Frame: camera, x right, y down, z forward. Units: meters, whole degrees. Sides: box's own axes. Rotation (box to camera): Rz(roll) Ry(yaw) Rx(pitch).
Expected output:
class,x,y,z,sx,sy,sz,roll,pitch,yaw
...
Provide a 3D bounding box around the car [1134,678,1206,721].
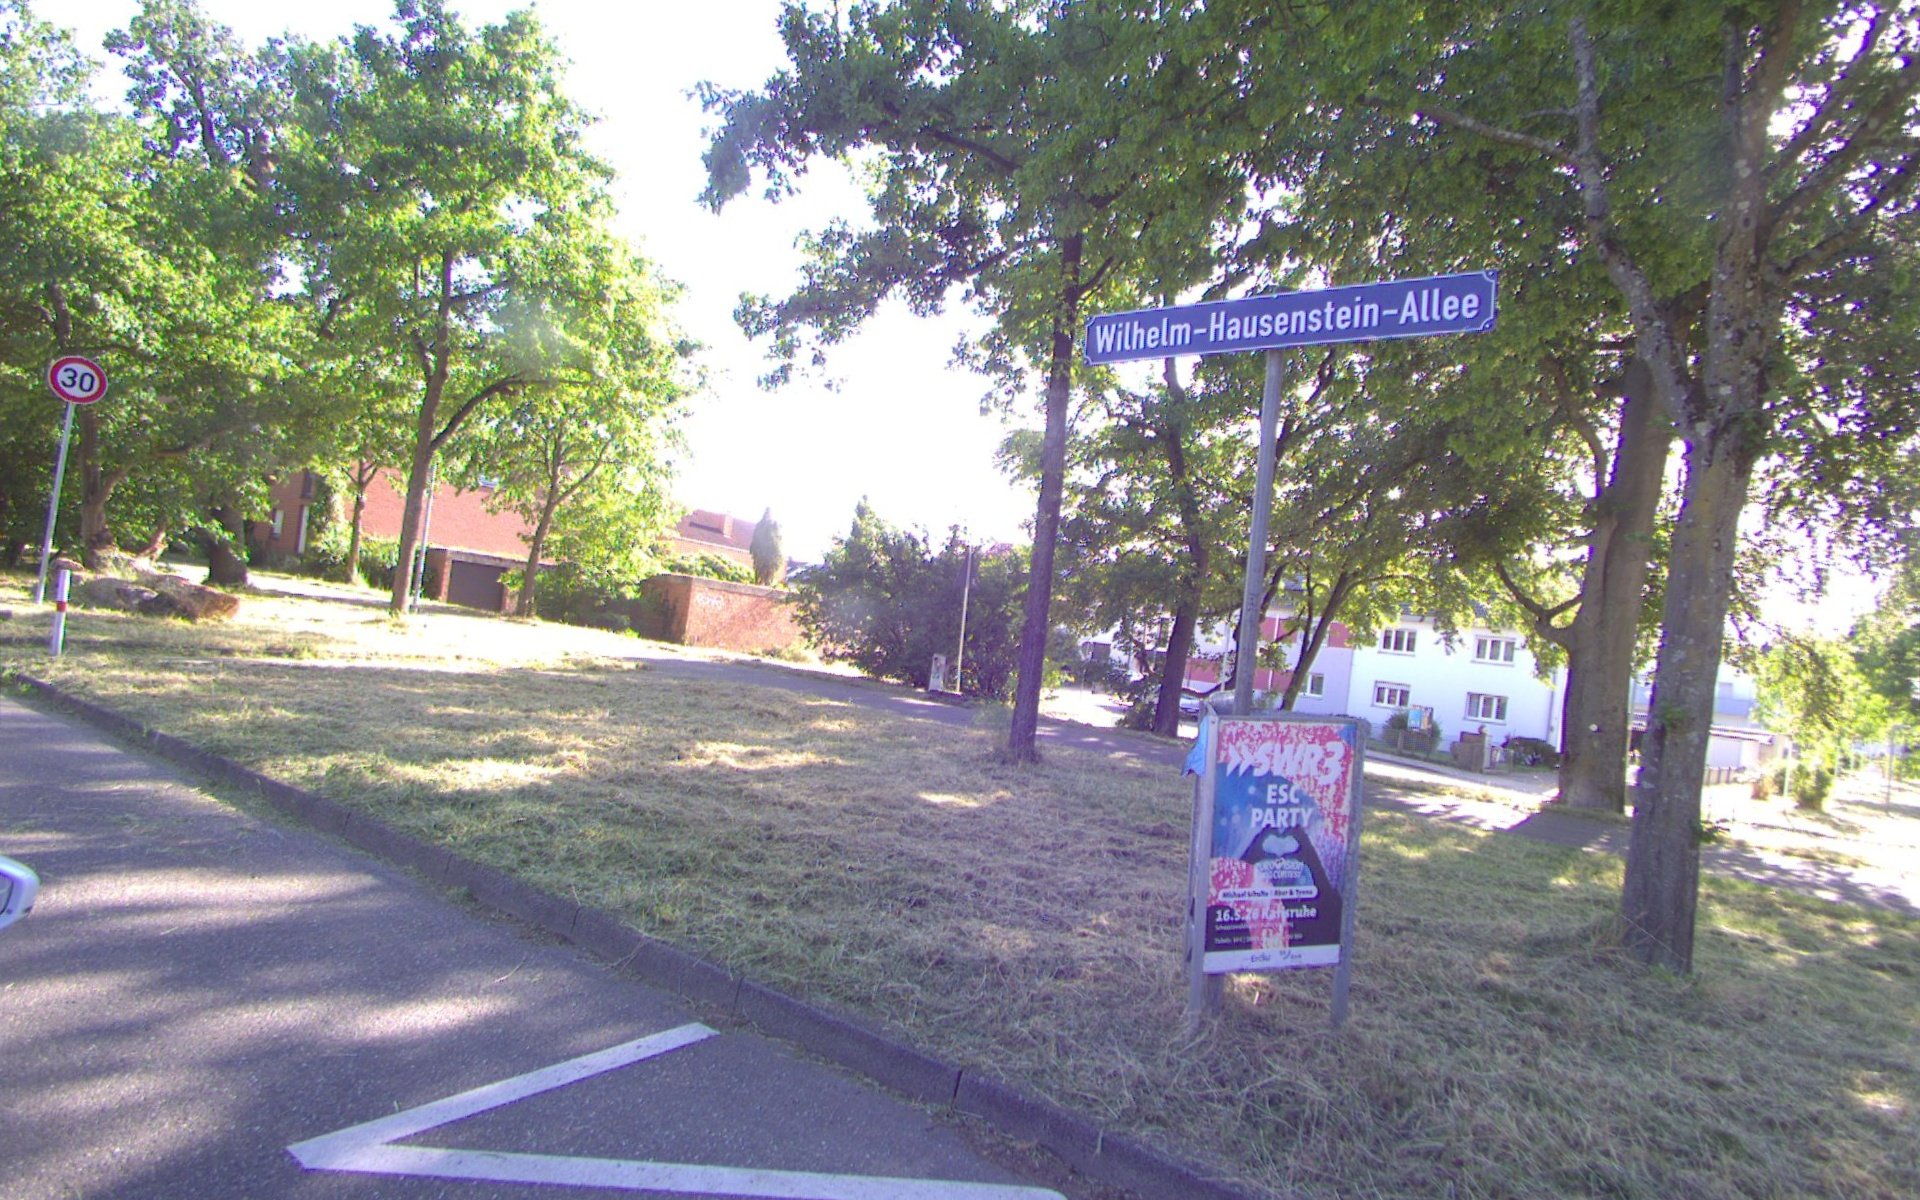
class,x,y,z,sx,sy,sz,roll,pitch,yaw
car,10.006,4.736,48.056,1.514,1.569,3.160,9,-2,-30

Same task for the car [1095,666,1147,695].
class,x,y,z,sx,sy,sz,roll,pitch,yaw
car,11.011,5.486,68.662,3.617,1.515,1.434,10,-3,-41
